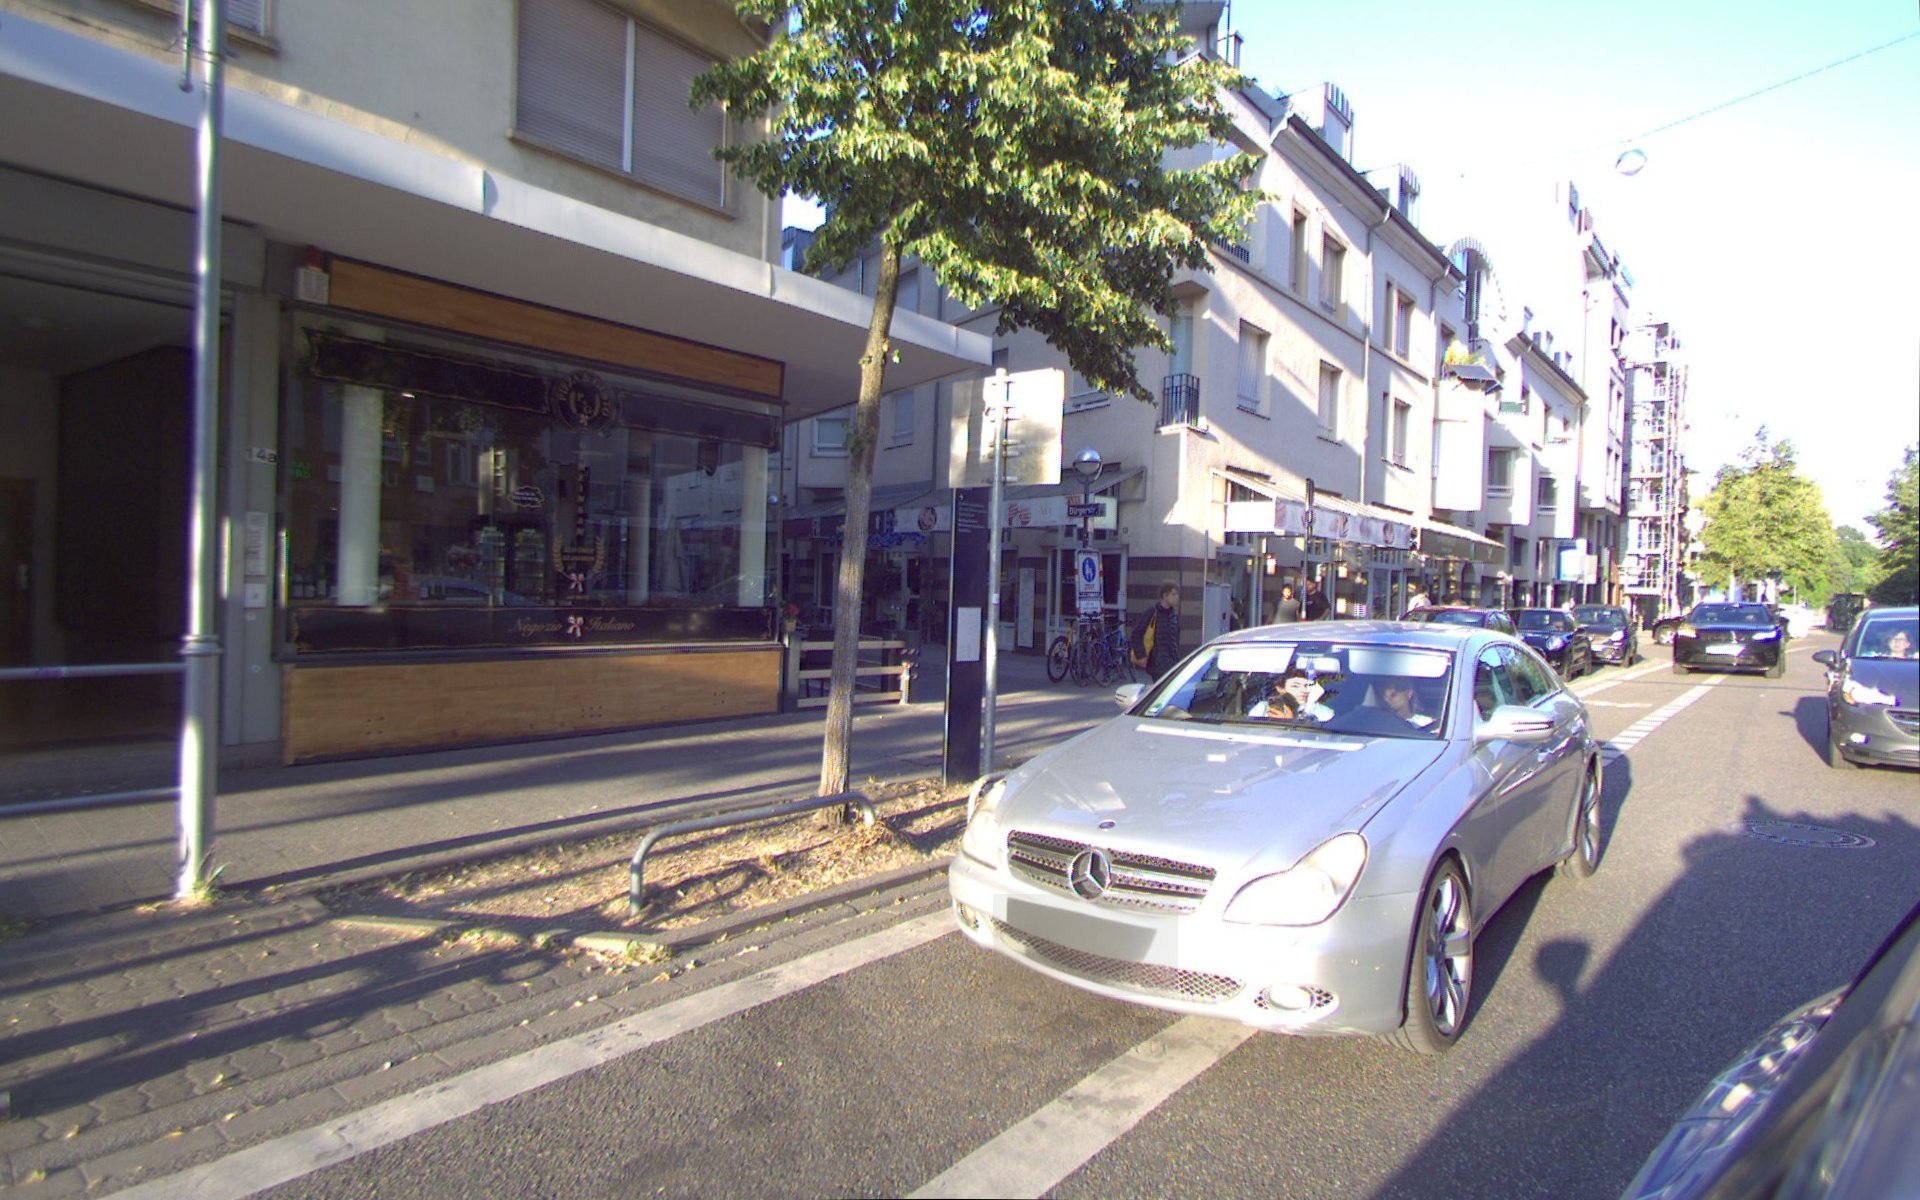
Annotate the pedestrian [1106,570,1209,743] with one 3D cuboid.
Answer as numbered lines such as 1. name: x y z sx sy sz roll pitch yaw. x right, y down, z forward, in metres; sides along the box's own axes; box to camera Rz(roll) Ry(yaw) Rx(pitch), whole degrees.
1. pedestrian: 2.022 0.560 10.447 0.688 1.696 0.799 2 2 -13

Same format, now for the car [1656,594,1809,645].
1. car: 28.860 0.686 37.900 1.707 1.696 4.287 1 1 -43

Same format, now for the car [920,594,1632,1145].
1. car: 1.978 0.705 5.014 1.740 1.418 4.572 0 1 40

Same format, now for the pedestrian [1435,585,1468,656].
1. pedestrian: 11.528 0.464 23.730 0.519 1.612 0.402 5 3 41

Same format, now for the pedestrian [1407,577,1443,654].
1. pedestrian: 11.022 0.355 23.984 0.543 1.779 0.495 5 3 41

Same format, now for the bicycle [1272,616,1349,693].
1. bicycle: 5.259 0.784 15.117 0.314 1.059 1.853 3 2 43

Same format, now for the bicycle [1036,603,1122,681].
1. bicycle: 1.864 0.615 15.687 0.320 1.118 1.851 2 1 41

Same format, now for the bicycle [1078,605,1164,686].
1. bicycle: 2.427 0.650 15.132 0.320 1.118 1.851 2 1 41

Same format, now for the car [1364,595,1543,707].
1. car: 7.793 0.700 15.801 1.587 1.451 3.868 4 2 40

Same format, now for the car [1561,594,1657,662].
1. car: 17.152 0.679 26.674 1.615 1.612 3.868 2 1 40

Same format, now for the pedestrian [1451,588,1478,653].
1. pedestrian: 14.310 0.561 28.709 0.574 1.823 0.443 0 0 42

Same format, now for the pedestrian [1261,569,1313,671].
1. pedestrian: 5.855 0.345 18.124 0.629 1.771 0.660 3 2 41

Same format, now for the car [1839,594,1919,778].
1. car: 9.262 0.708 9.396 1.616 1.492 3.634 0 0 41

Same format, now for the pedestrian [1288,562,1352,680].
1. pedestrian: 5.996 0.347 16.846 0.776 1.907 0.660 -2 -2 41

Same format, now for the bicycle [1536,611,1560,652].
1. bicycle: 16.274 0.861 28.001 0.295 1.099 1.441 1 1 41

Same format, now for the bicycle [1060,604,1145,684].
1. bicycle: 2.191 0.641 15.339 0.290 1.118 1.859 2 1 41

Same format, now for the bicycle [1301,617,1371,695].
1. bicycle: 5.567 0.802 14.940 0.314 1.059 1.638 3 2 43

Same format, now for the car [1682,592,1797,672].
1. car: 17.920 0.672 23.193 1.884 1.656 4.165 0 0 41

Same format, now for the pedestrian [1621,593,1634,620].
1. pedestrian: 32.120 0.302 48.698 0.490 1.279 0.415 0 0 41

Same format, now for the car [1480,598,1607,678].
1. car: 12.238 0.718 21.118 1.615 1.452 3.868 3 2 40
